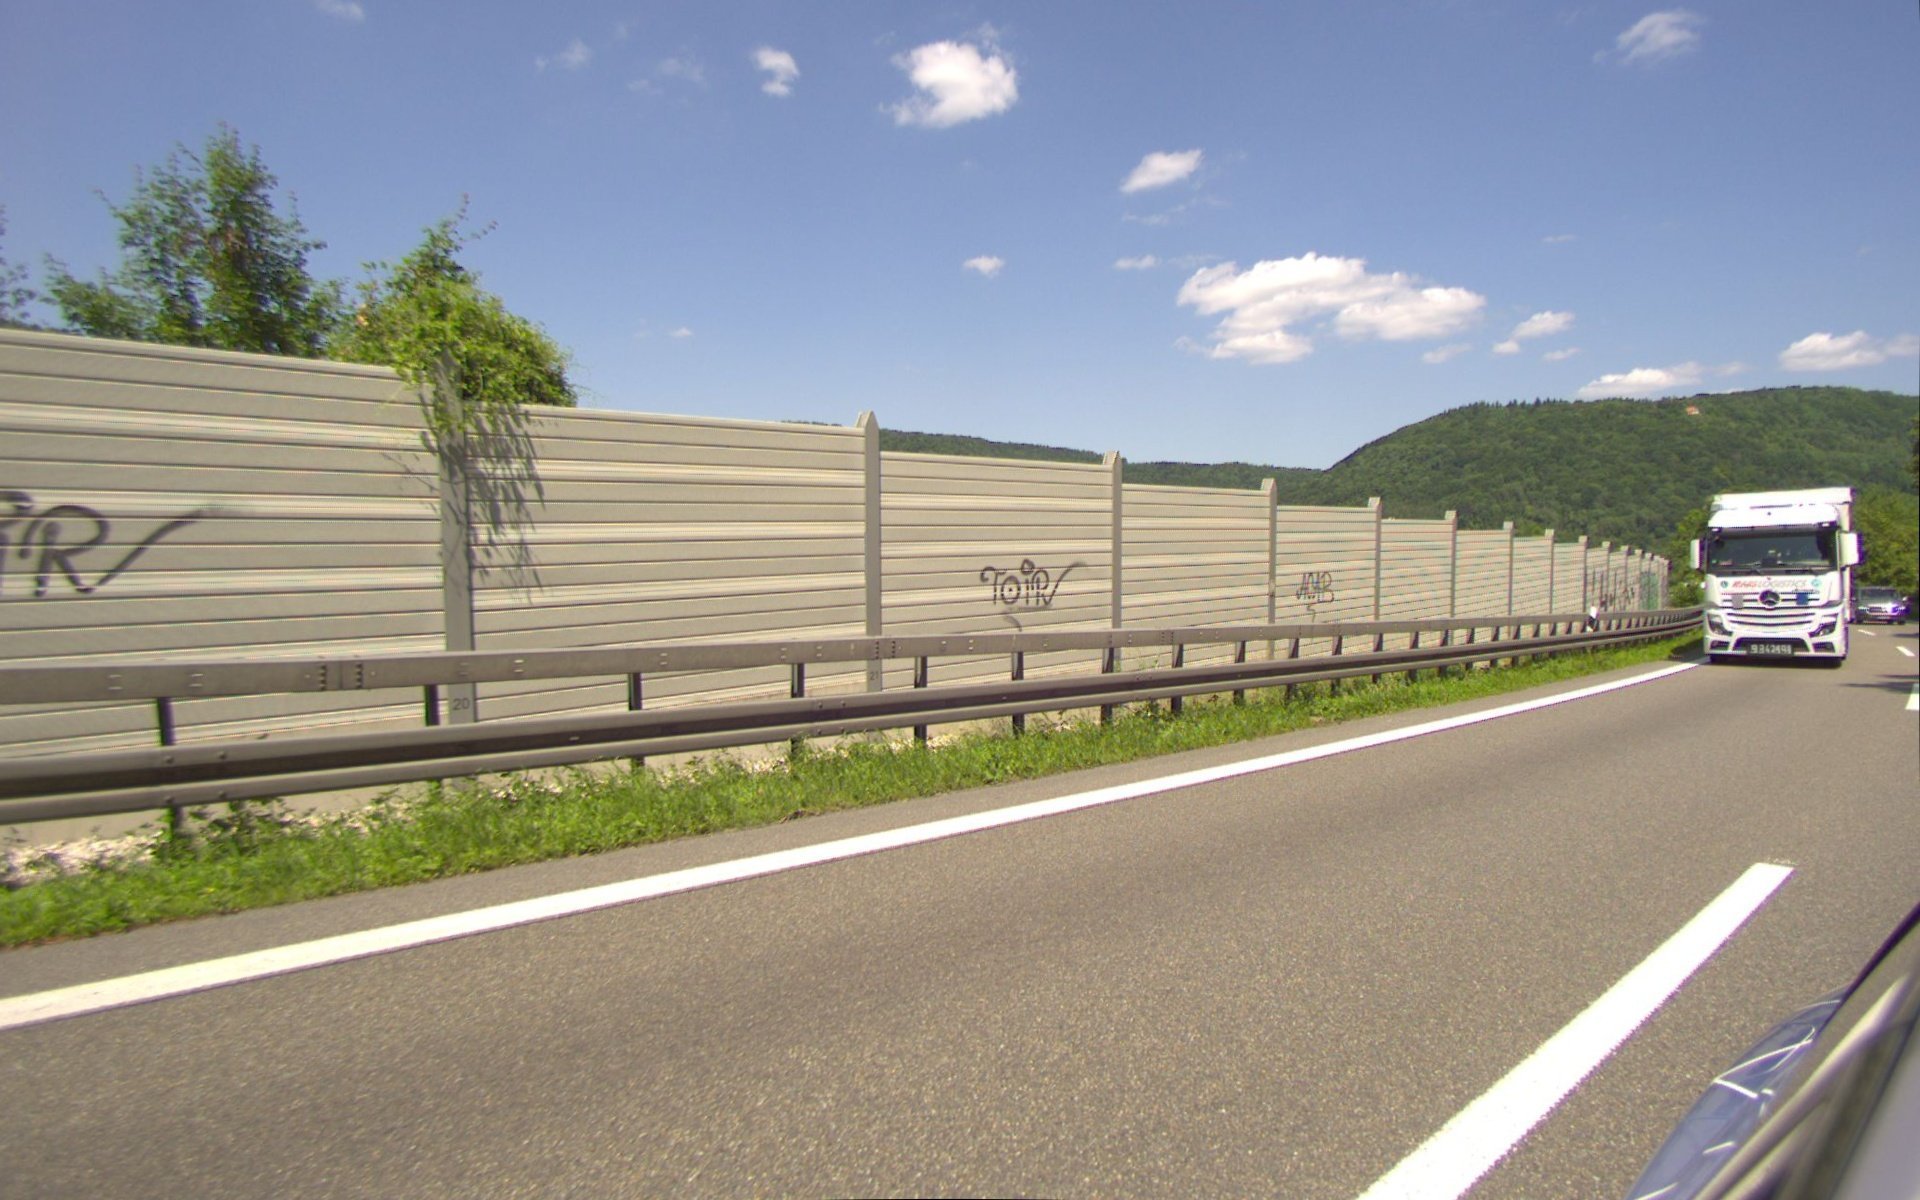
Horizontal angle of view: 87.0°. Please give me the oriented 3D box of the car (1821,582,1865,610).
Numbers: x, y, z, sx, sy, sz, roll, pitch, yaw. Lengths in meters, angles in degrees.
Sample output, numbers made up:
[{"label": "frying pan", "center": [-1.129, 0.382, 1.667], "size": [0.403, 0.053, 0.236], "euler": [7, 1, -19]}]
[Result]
[{"label": "car", "center": [66.752, -0.339, 76.537], "size": [1.987, 2.039, 3.951], "euler": [1, 1, 34]}]

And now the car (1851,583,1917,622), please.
[{"label": "car", "center": [47.481, 0.105, 52.082], "size": [2.032, 1.889, 3.949], "euler": [1, 0, 35]}]

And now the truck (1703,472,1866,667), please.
[{"label": "truck", "center": [20.170, -0.679, 24.674], "size": [2.755, 4.089, 6.722], "euler": [1, 0, 41]}]

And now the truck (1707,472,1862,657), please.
[{"label": "truck", "center": [23.349, -0.854, 28.374], "size": [2.852, 4.200, 11.865], "euler": [0, 0, 42]}]
